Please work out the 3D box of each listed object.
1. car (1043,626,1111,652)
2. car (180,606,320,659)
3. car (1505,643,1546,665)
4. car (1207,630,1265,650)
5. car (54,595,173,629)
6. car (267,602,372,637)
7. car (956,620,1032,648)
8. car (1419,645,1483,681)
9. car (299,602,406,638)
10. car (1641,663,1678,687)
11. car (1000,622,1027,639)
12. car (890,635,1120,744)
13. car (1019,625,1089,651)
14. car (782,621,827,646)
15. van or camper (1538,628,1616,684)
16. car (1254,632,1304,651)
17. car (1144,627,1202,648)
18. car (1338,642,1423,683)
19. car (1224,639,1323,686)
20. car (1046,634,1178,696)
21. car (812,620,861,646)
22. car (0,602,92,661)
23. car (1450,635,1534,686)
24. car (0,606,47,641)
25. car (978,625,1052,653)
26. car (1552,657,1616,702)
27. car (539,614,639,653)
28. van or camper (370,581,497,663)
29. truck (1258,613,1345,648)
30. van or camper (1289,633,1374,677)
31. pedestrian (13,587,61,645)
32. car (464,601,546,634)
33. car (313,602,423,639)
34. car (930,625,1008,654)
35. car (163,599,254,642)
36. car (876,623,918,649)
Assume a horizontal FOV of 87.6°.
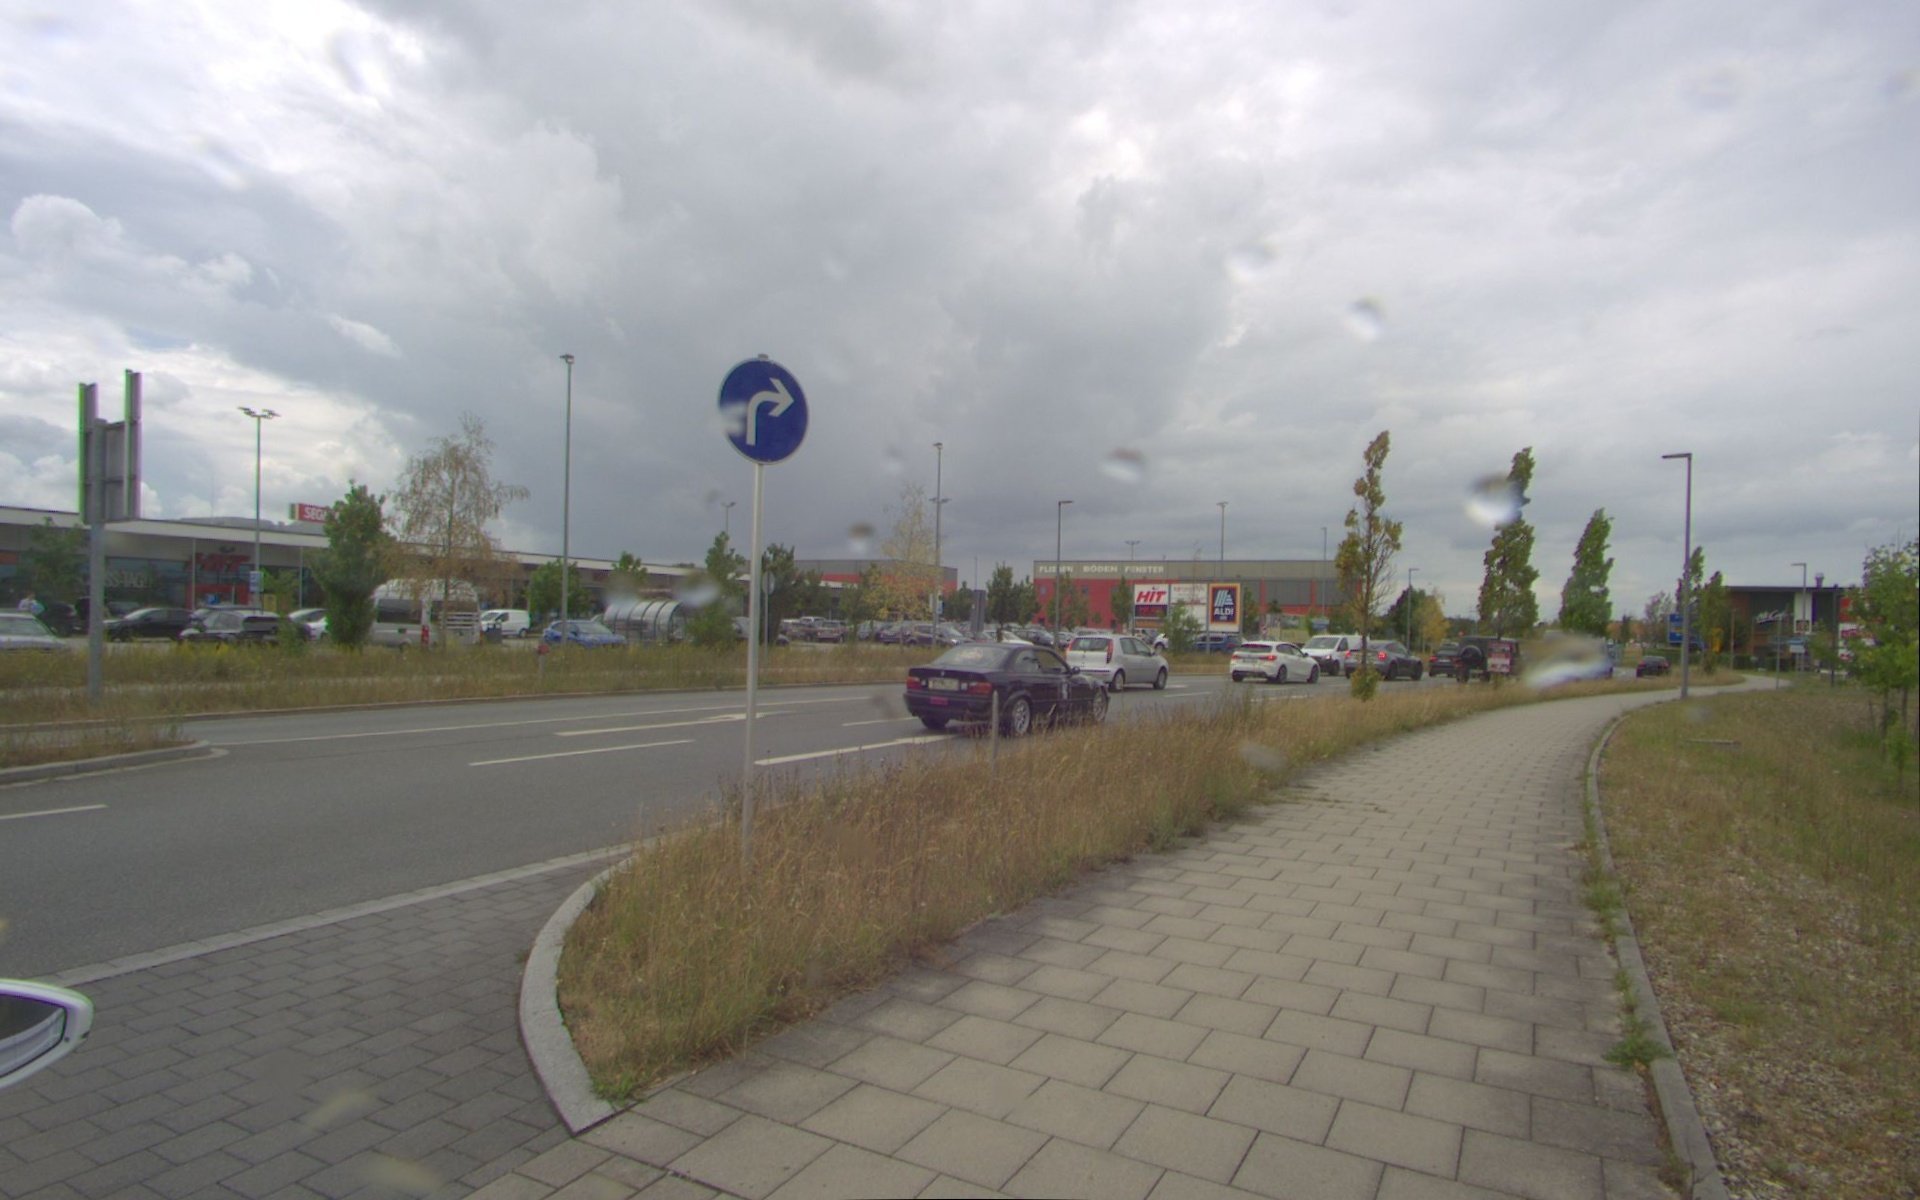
[{"bbox_3d":[7.326,2.421,62.638,3.765,1.408,1.902,1,0,37],"label":"car"},{"bbox_3d":[-21.021,0.945,29.626,4.091,1.469,1.985,0,-2,33],"label":"car"},{"bbox_3d":[40.171,3.818,71.121,1.754,1.402,4.118,0,-2,41],"label":"car"},{"bbox_3d":[21.601,3.109,78.327,3.949,1.460,1.987,0,-2,38],"label":"car"},{"bbox_3d":[-41.387,0.610,49.027,1.968,1.527,3.988,1,-1,26],"label":"car"},{"bbox_3d":[-32.014,0.991,50.126,1.972,1.639,3.979,1,-1,33],"label":"car"},{"bbox_3d":[1.870,1.845,55.560,3.765,1.408,1.902,1,0,37],"label":"car"},{"bbox_3d":[23.923,3.033,48.696,1.885,1.588,4.305,1,-1,39],"label":"car"},{"bbox_3d":[-29.546,0.993,48.780,1.972,1.639,3.979,1,-1,33],"label":"car"},{"bbox_3d":[44.667,4.786,63.923,1.478,1.403,3.314,0,-2,43],"label":"car"},{"bbox_3d":[5.661,3.205,105.983,1.732,1.675,3.828,1,-1,21],"label":"car"},{"bbox_3d":[0.868,1.282,15.761,1.733,1.404,4.281,1,-1,32],"label":"car"},{"bbox_3d":[5.624,2.282,60.311,3.765,1.408,1.902,1,0,37],"label":"car"},{"bbox_3d":[-11.210,2.383,72.430,1.731,1.675,3.832,1,-1,16],"label":"car"},{"bbox_3d":[30.969,2.820,50.186,2.172,2.573,6.116,1,-2,43],"label":"van or camper"},{"bbox_3d":[26.616,3.487,83.535,3.780,1.446,1.737,1,-1,26],"label":"car"},{"bbox_3d":[15.522,2.746,73.145,3.799,1.446,1.729,0,-2,42],"label":"car"},{"bbox_3d":[17.588,2.556,41.757,1.790,1.527,4.846,1,-1,41],"label":"car"},{"bbox_3d":[11.011,2.138,34.965,1.780,1.469,4.216,1,-1,41],"label":"car"},{"bbox_3d":[4.124,1.673,26.777,1.779,1.480,3.788,1,-1,40],"label":"car"},{"bbox_3d":[-8.780,2.300,71.488,1.964,1.756,3.995,1,-1,17],"label":"car"},{"bbox_3d":[-24.070,0.781,25.428,4.091,1.402,1.985,0,-2,33],"label":"car"},{"bbox_3d":[22.221,2.499,41.712,1.977,1.948,4.810,1,-2,42],"label":"car"},{"bbox_3d":[-44.514,1.060,46.402,3.936,1.527,1.993,1,-1,27],"label":"car"},{"bbox_3d":[3.135,2.203,57.318,3.765,1.408,1.902,1,0,37],"label":"car"},{"bbox_3d":[25.844,3.262,41.429,1.667,1.698,3.477,0,-2,43],"label":"car"},{"bbox_3d":[-14.516,1.296,39.109,4.097,1.402,1.798,0,-2,38],"label":"car"},{"bbox_3d":[-17.370,0.727,32.995,3.950,2.524,2.275,0,-2,38],"label":"van or camper"},{"bbox_3d":[31.190,2.820,91.362,8.063,2.983,2.667,2,-1,-28],"label":"truck"},{"bbox_3d":[17.547,2.545,47.176,1.977,1.936,5.161,1,-1,42],"label":"van or camper"},{"bbox_3d":[-33.488,0.580,36.347,0.985,2.040,0.867,1,0,16],"label":"pedestrian"},{"bbox_3d":[-27.692,1.098,61.073,1.966,1.842,4.419,1,-2,22],"label":"car"},{"bbox_3d":[-27.717,0.984,46.982,1.972,1.639,3.979,1,-1,33],"label":"car"},{"bbox_3d":[0.472,2.107,53.654,3.765,1.408,1.902,1,0,37],"label":"car"},{"bbox_3d":[-31.126,0.831,41.444,3.944,1.675,1.810,1,-1,34],"label":"car"},{"bbox_3d":[-4.308,2.445,69.054,1.731,1.675,3.832,1,-1,16],"label":"car"}]
